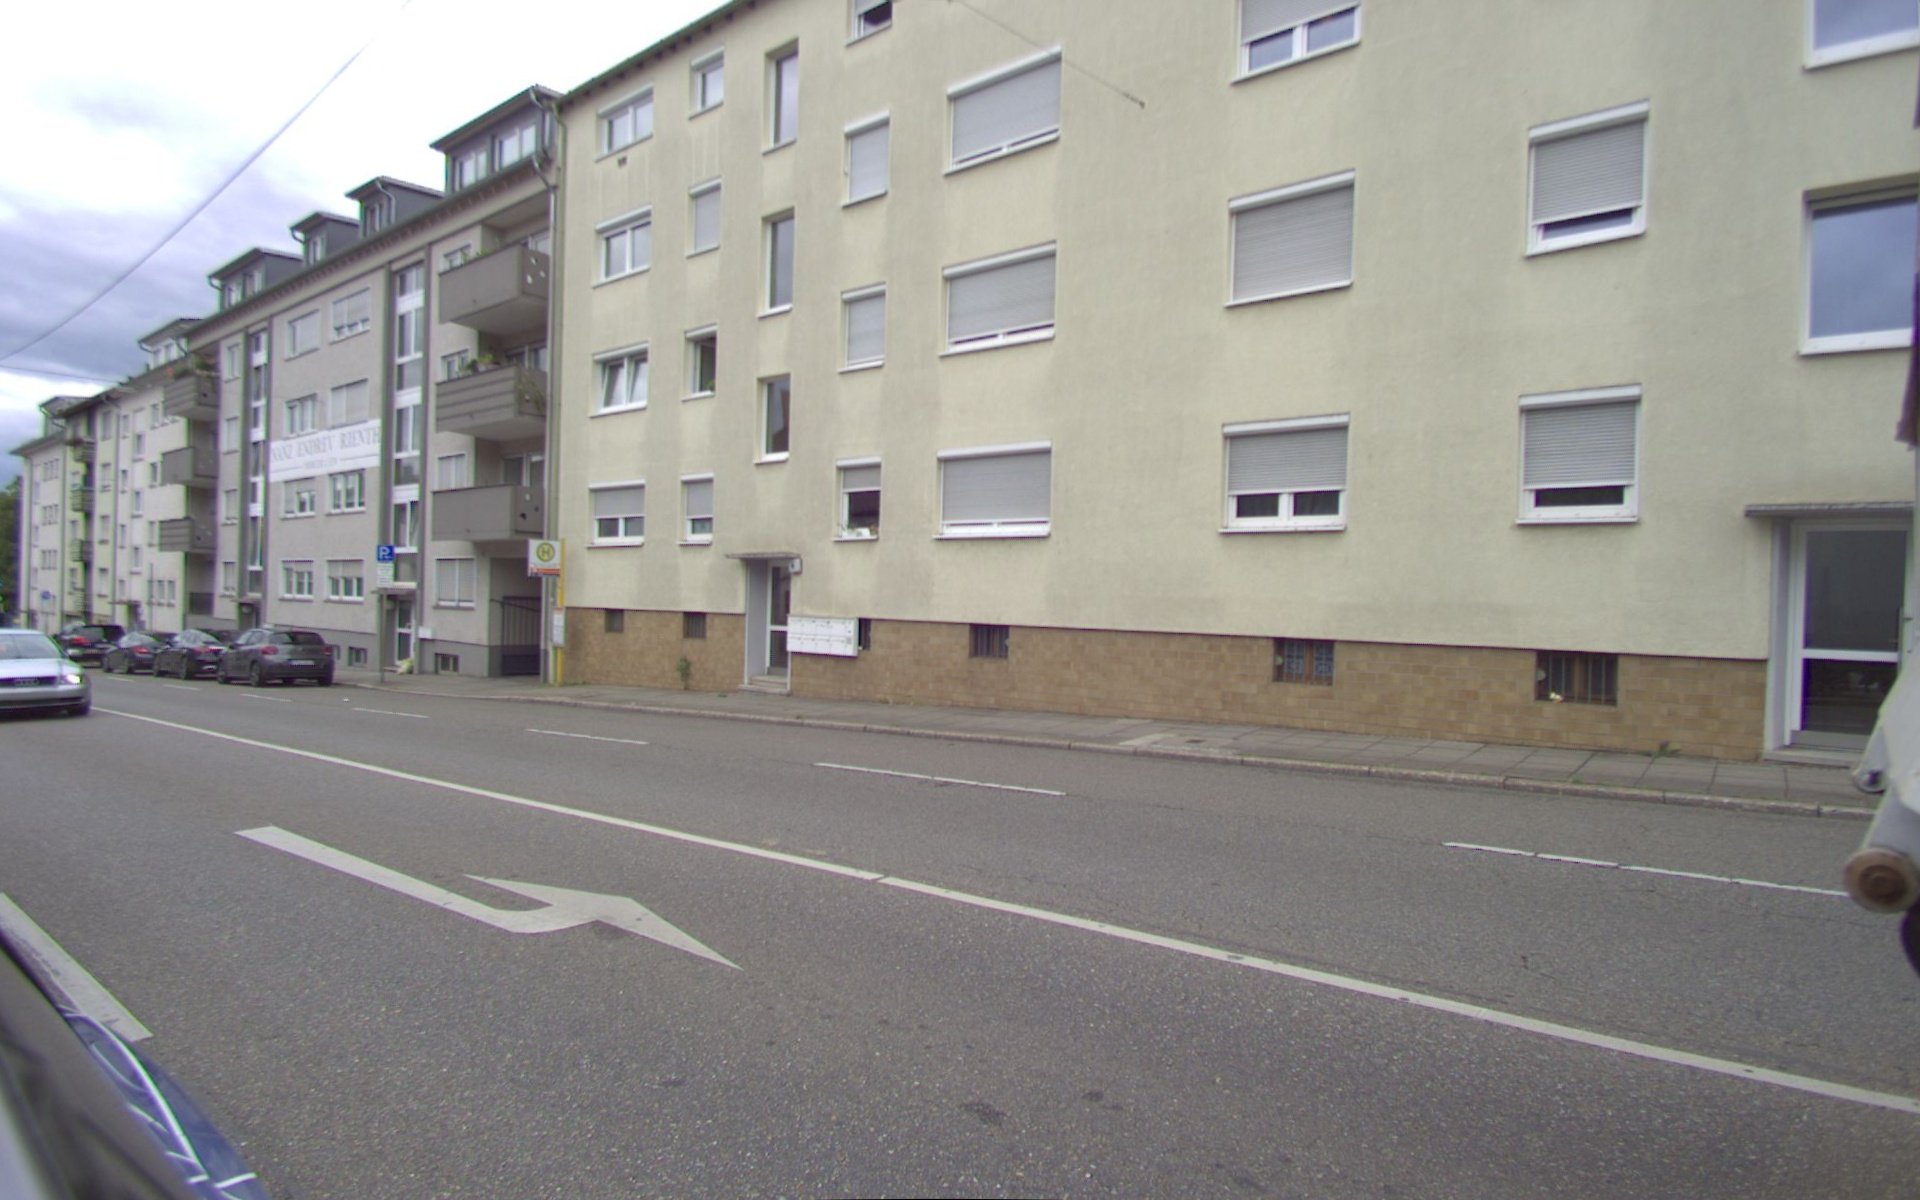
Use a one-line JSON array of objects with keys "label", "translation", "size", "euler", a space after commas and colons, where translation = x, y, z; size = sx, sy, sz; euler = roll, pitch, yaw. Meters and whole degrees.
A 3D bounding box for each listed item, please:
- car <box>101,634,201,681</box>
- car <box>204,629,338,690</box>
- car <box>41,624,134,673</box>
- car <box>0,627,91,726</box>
[{"label": "car", "translation": [-26.425, 1.827, 33.016], "size": [4.304, 1.416, 1.750], "euler": [-2, -2, 40]}, {"label": "car", "translation": [-17.808, 1.506, 26.102], "size": [3.797, 1.447, 1.751], "euler": [-1, -4, 39]}, {"label": "car", "translation": [-33.511, 1.829, 38.837], "size": [4.302, 1.767, 1.852], "euler": [-1, -4, 39]}, {"label": "car", "translation": [-15.191, 1.165, 15.934], "size": [4.174, 1.383, 1.679], "euler": [-2, -2, 41]}]
